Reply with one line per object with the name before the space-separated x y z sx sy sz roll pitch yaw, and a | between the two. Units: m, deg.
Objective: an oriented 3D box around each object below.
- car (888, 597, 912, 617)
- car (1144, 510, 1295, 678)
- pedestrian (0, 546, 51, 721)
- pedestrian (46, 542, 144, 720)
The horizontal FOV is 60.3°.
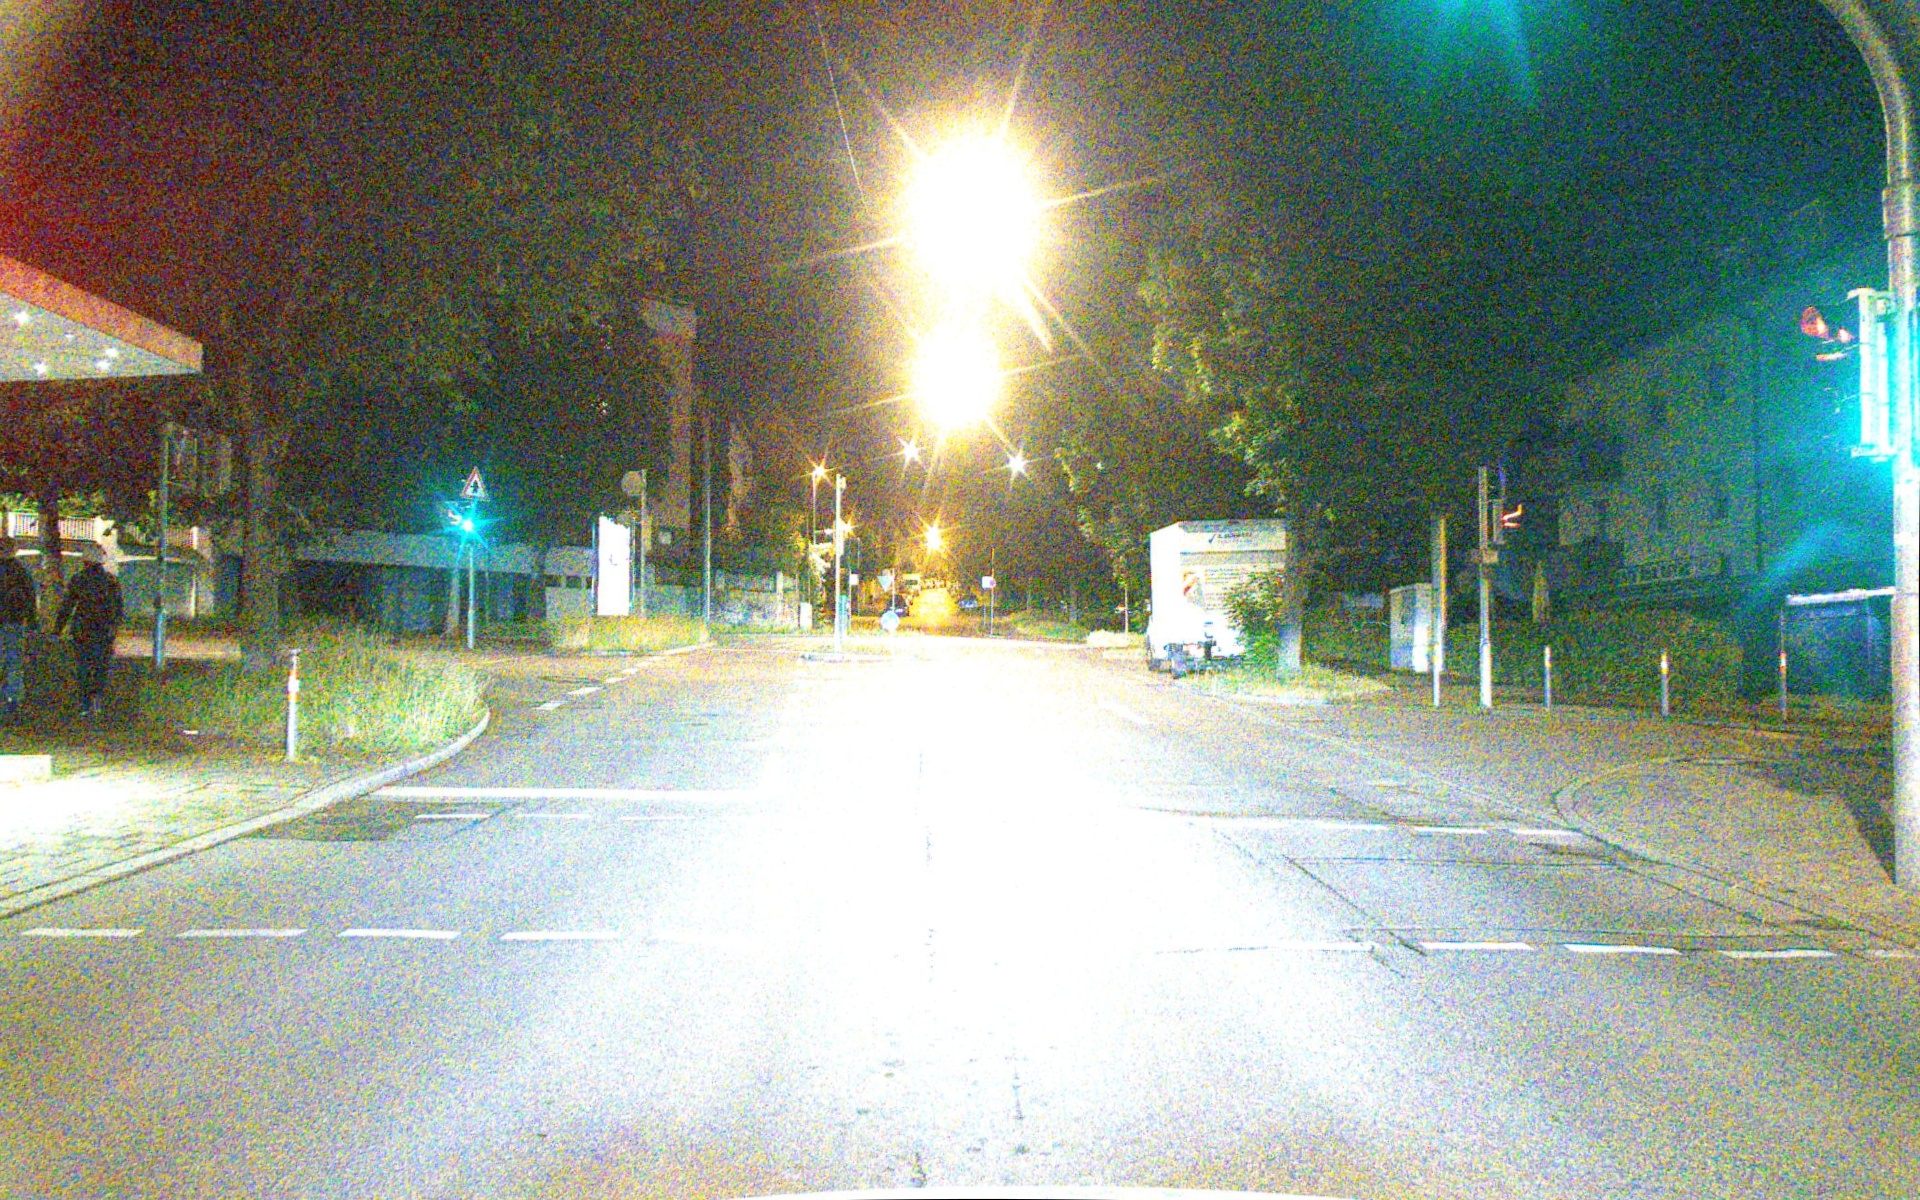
car | -4.845 0.543 134.241 1.869 1.585 3.903 1 0 -1
car | 5.251 -0.104 34.316 2.249 3.147 5.840 -1 0 1
pedestrian | -9.725 0.335 16.881 0.558 1.761 0.543 1 -1 -1
pedestrian | -9.110 0.324 17.434 0.558 1.808 0.737 3 -1 -1
